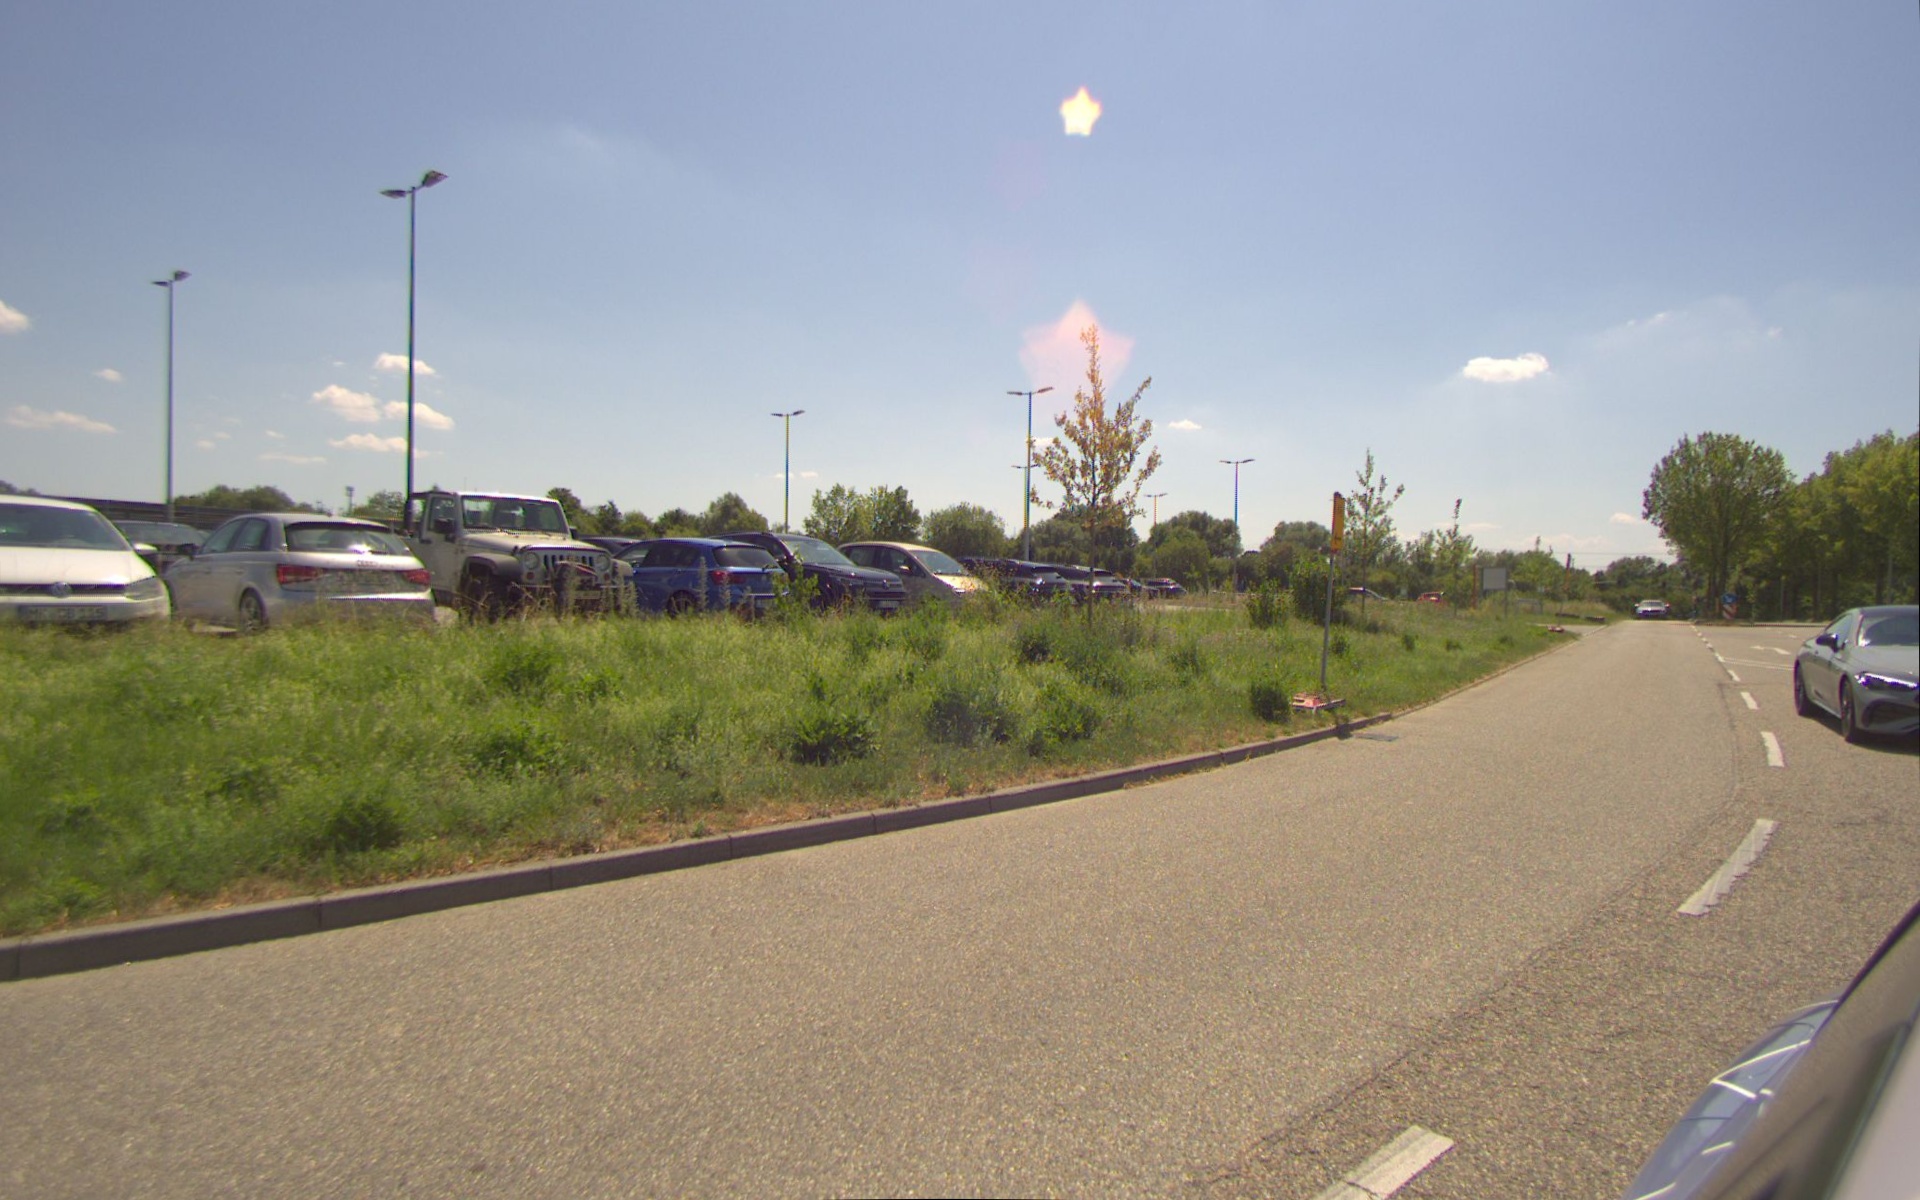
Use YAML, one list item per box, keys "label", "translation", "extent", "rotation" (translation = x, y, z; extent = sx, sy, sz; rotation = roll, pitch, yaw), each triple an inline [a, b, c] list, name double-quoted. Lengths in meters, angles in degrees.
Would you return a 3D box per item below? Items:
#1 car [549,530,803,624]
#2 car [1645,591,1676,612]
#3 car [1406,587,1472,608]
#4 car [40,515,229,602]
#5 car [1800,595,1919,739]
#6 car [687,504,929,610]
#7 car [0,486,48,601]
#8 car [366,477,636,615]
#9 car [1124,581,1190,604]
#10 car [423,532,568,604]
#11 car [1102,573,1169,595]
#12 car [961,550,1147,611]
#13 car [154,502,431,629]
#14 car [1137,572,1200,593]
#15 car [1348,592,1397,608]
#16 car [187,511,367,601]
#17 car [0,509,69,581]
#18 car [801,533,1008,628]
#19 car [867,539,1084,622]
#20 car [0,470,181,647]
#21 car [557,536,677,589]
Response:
- label: "car"
  translation: [-4.389, -0.384, 15.463]
  extent: [3.918, 1.273, 1.567]
  rotation: [2, 3, 33]
- label: "car"
  translation: [49.524, 0.087, 71.534]
  extent: [1.664, 1.392, 4.438]
  rotation: [-2, 0, 36]
- label: "car"
  translation: [33.359, -0.165, 70.509]
  extent: [3.969, 1.368, 1.628]
  rotation: [-1, 1, 32]
- label: "car"
  translation: [-14.763, -0.771, 18.050]
  extent: [3.824, 1.379, 1.632]
  rotation: [3, 3, 35]
- label: "car"
  translation: [11.033, 0.666, 11.419]
  extent: [1.885, 1.401, 4.577]
  rotation: [0, 0, 33]
- label: "car"
  translation: [-2.676, -0.667, 17.458]
  extent: [4.010, 1.448, 1.667]
  rotation: [-4, -1, 34]
- label: "car"
  translation: [-16.373, -0.872, 16.095]
  extent: [4.573, 1.712, 1.755]
  rotation: [1, 0, 35]
- label: "car"
  translation: [-6.102, -0.692, 13.305]
  extent: [3.733, 1.546, 1.849]
  rotation: [2, 3, 41]
- label: "car"
  translation: [13.187, -0.516, 67.852]
  extent: [3.970, 1.368, 1.628]
  rotation: [3, 2, 32]
- label: "car"
  translation: [-10.933, -0.719, 23.777]
  extent: [3.394, 1.593, 1.505]
  rotation: [0, 1, 33]
- label: "car"
  translation: [11.374, -1.052, 65.598]
  extent: [3.969, 1.368, 1.628]
  rotation: [-1, 1, 32]
- label: "car"
  translation: [2.163, -0.435, 23.816]
  extent: [3.977, 1.308, 1.884]
  rotation: [0, 1, 37]
- label: "car"
  translation: [-7.368, -0.397, 11.102]
  extent: [3.251, 1.196, 1.482]
  rotation: [2, 3, 36]
- label: "car"
  translation: [14.450, -1.180, 70.100]
  extent: [3.969, 1.368, 1.628]
  rotation: [-1, 1, 32]
- label: "car"
  translation: [37.899, -0.025, 92.983]
  extent: [3.969, 1.368, 1.628]
  rotation: [-1, 1, 32]
- label: "car"
  translation: [-13.507, -0.889, 19.964]
  extent: [3.616, 1.617, 1.748]
  rotation: [3, 2, 35]
- label: "car"
  translation: [-21.517, -1.243, 22.636]
  extent: [3.616, 1.517, 1.579]
  rotation: [3, 2, 35]
- label: "car"
  translation: [-1.117, -0.423, 19.720]
  extent: [3.823, 1.644, 1.598]
  rotation: [3, 2, 34]
- label: "car"
  translation: [0.268, -0.453, 21.543]
  extent: [4.375, 1.564, 1.792]
  rotation: [3, 2, 35]
- label: "car"
  translation: [-8.483, -0.373, 8.948]
  extent: [3.856, 1.313, 1.554]
  rotation: [2, 3, 37]
- label: "car"
  translation: [-10.821, -1.187, 31.868]
  extent: [3.616, 1.517, 1.748]
  rotation: [3, 2, 35]
